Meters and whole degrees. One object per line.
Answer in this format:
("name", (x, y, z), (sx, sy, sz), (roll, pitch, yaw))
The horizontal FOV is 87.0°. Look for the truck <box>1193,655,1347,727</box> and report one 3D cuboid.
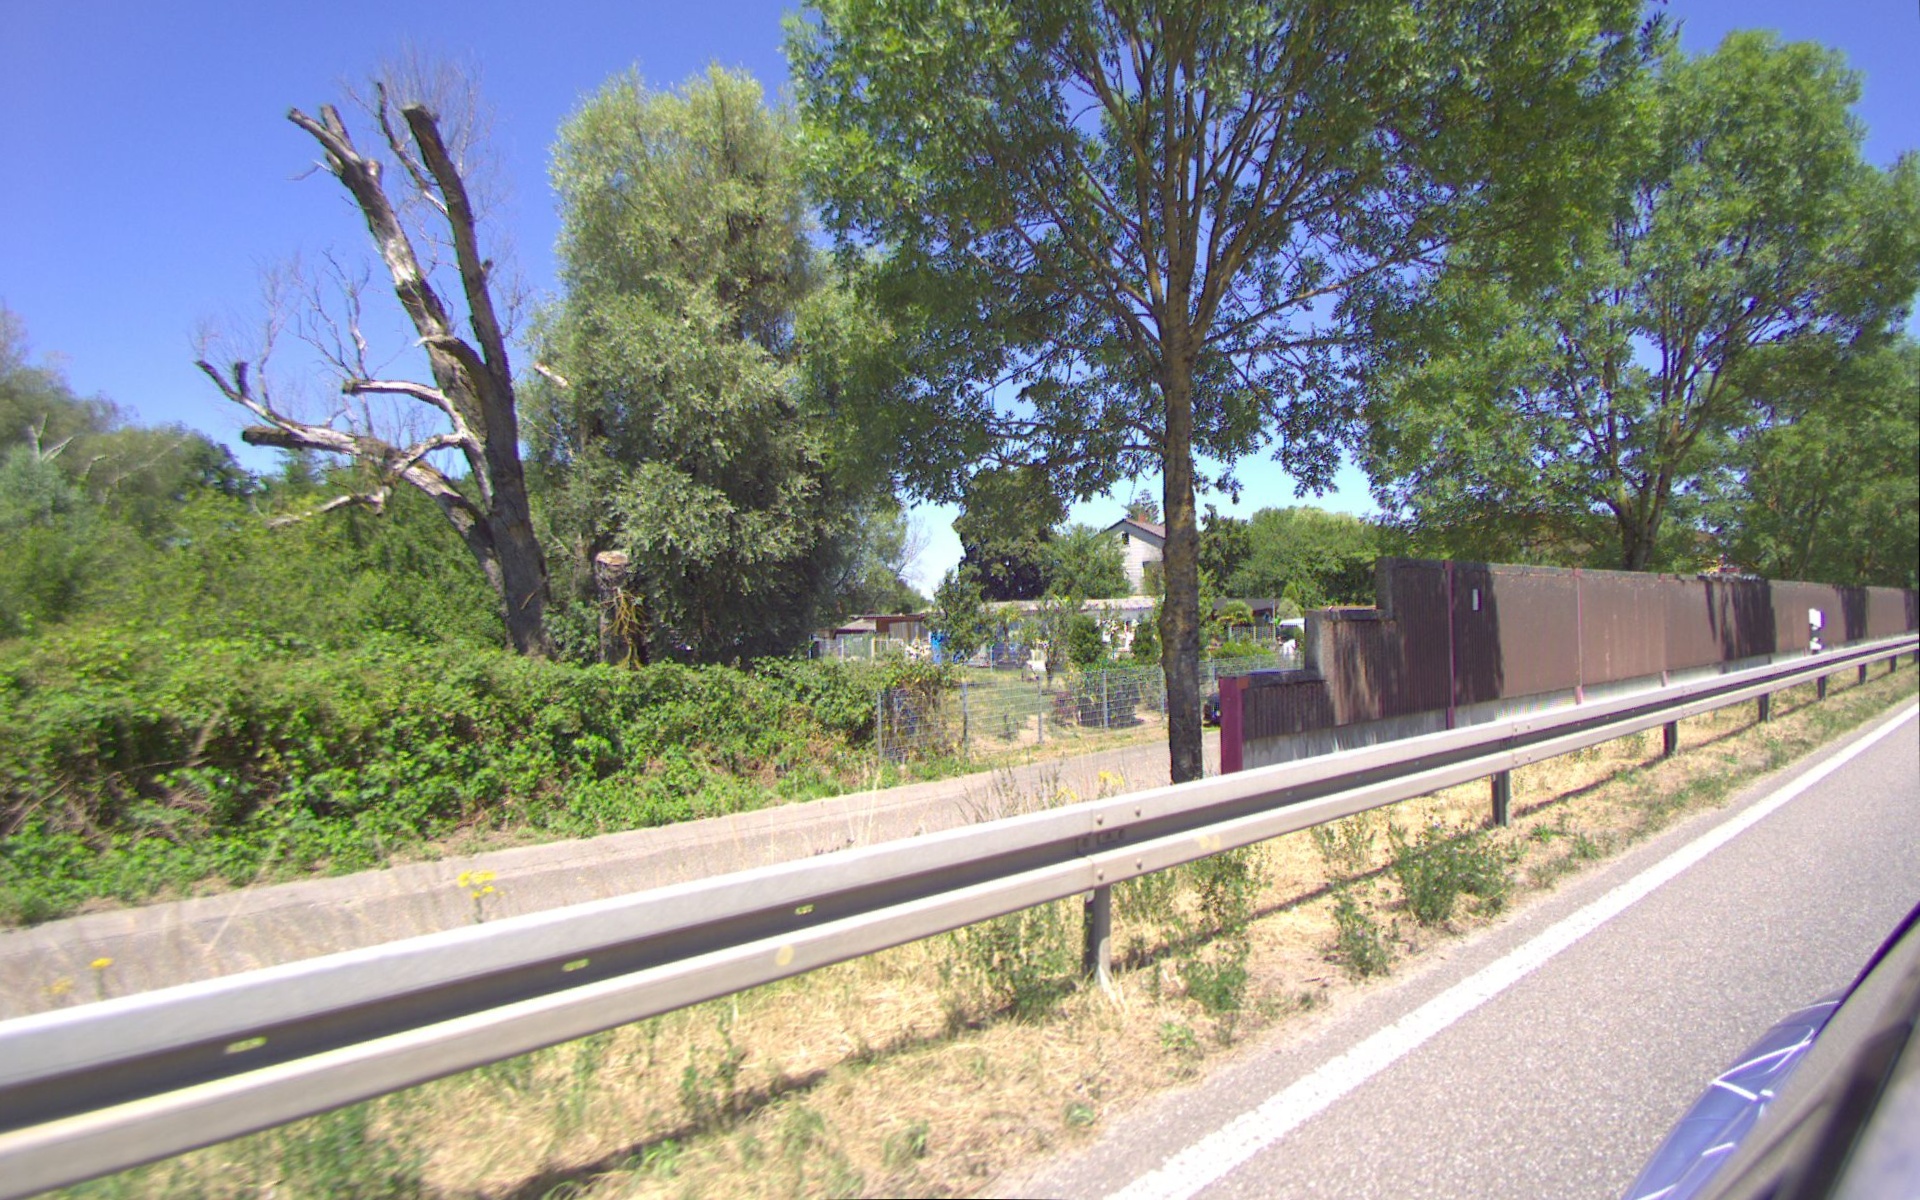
("truck", (8.823, 2.486, 28.580), (4.817, 1.591, 1.886), (0, 0, -41))
